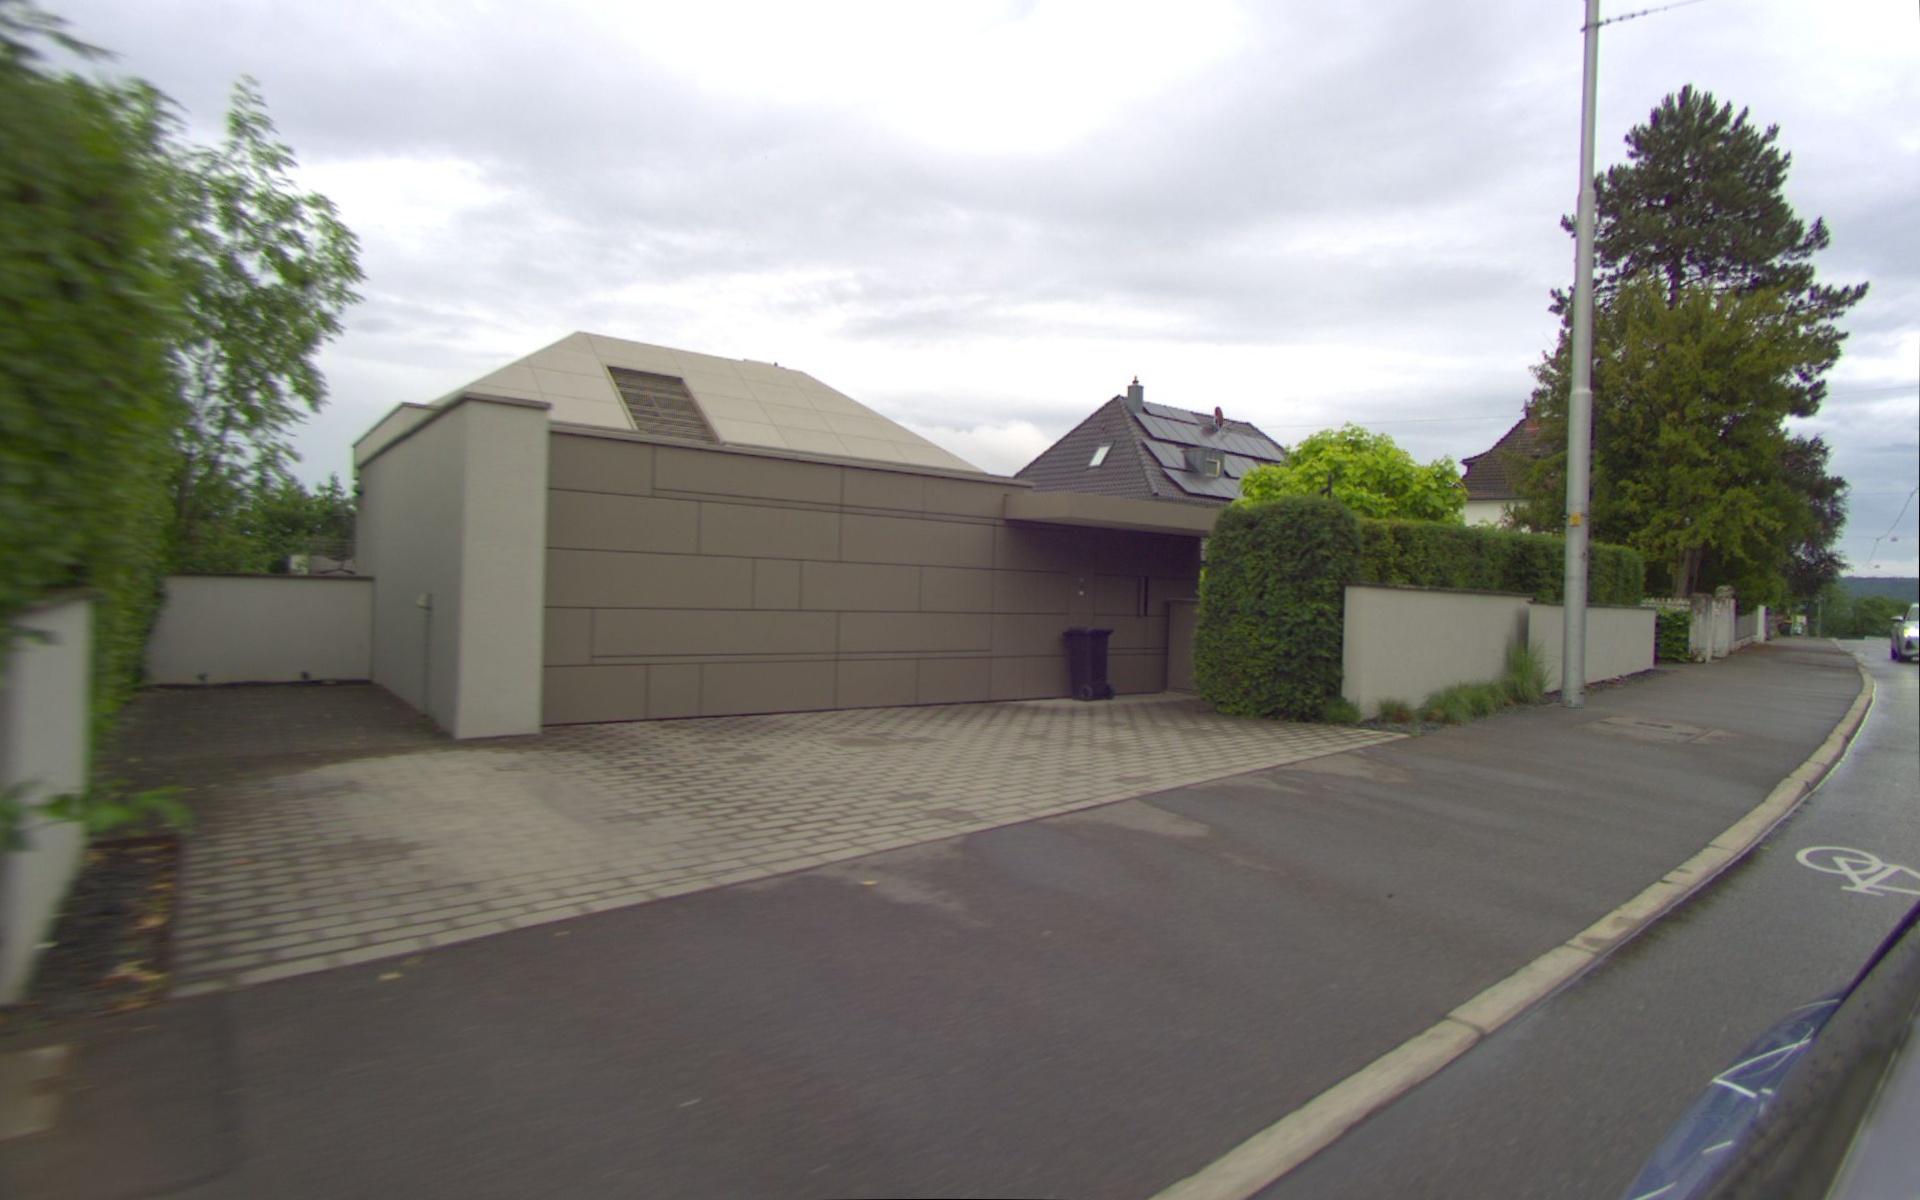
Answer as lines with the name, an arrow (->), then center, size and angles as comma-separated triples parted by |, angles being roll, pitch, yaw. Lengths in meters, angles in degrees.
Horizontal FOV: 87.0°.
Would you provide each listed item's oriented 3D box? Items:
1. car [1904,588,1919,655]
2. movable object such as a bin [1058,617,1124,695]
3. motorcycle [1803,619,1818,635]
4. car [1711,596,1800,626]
car -> 26.535, 0.577, 27.013 | 1.860, 1.736, 3.939 | 0, -1, 42
movable object such as a bin -> 1.664, 0.709, 12.865 | 0.579, 0.949, 0.576 | 3, -2, -34
motorcycle -> 74.208, 2.330, 88.315 | 2.118, 1.240, 0.694 | 3, 4, -45
car -> 46.164, 0.631, 58.772 | 3.983, 1.661, 1.889 | 0, -2, 41
